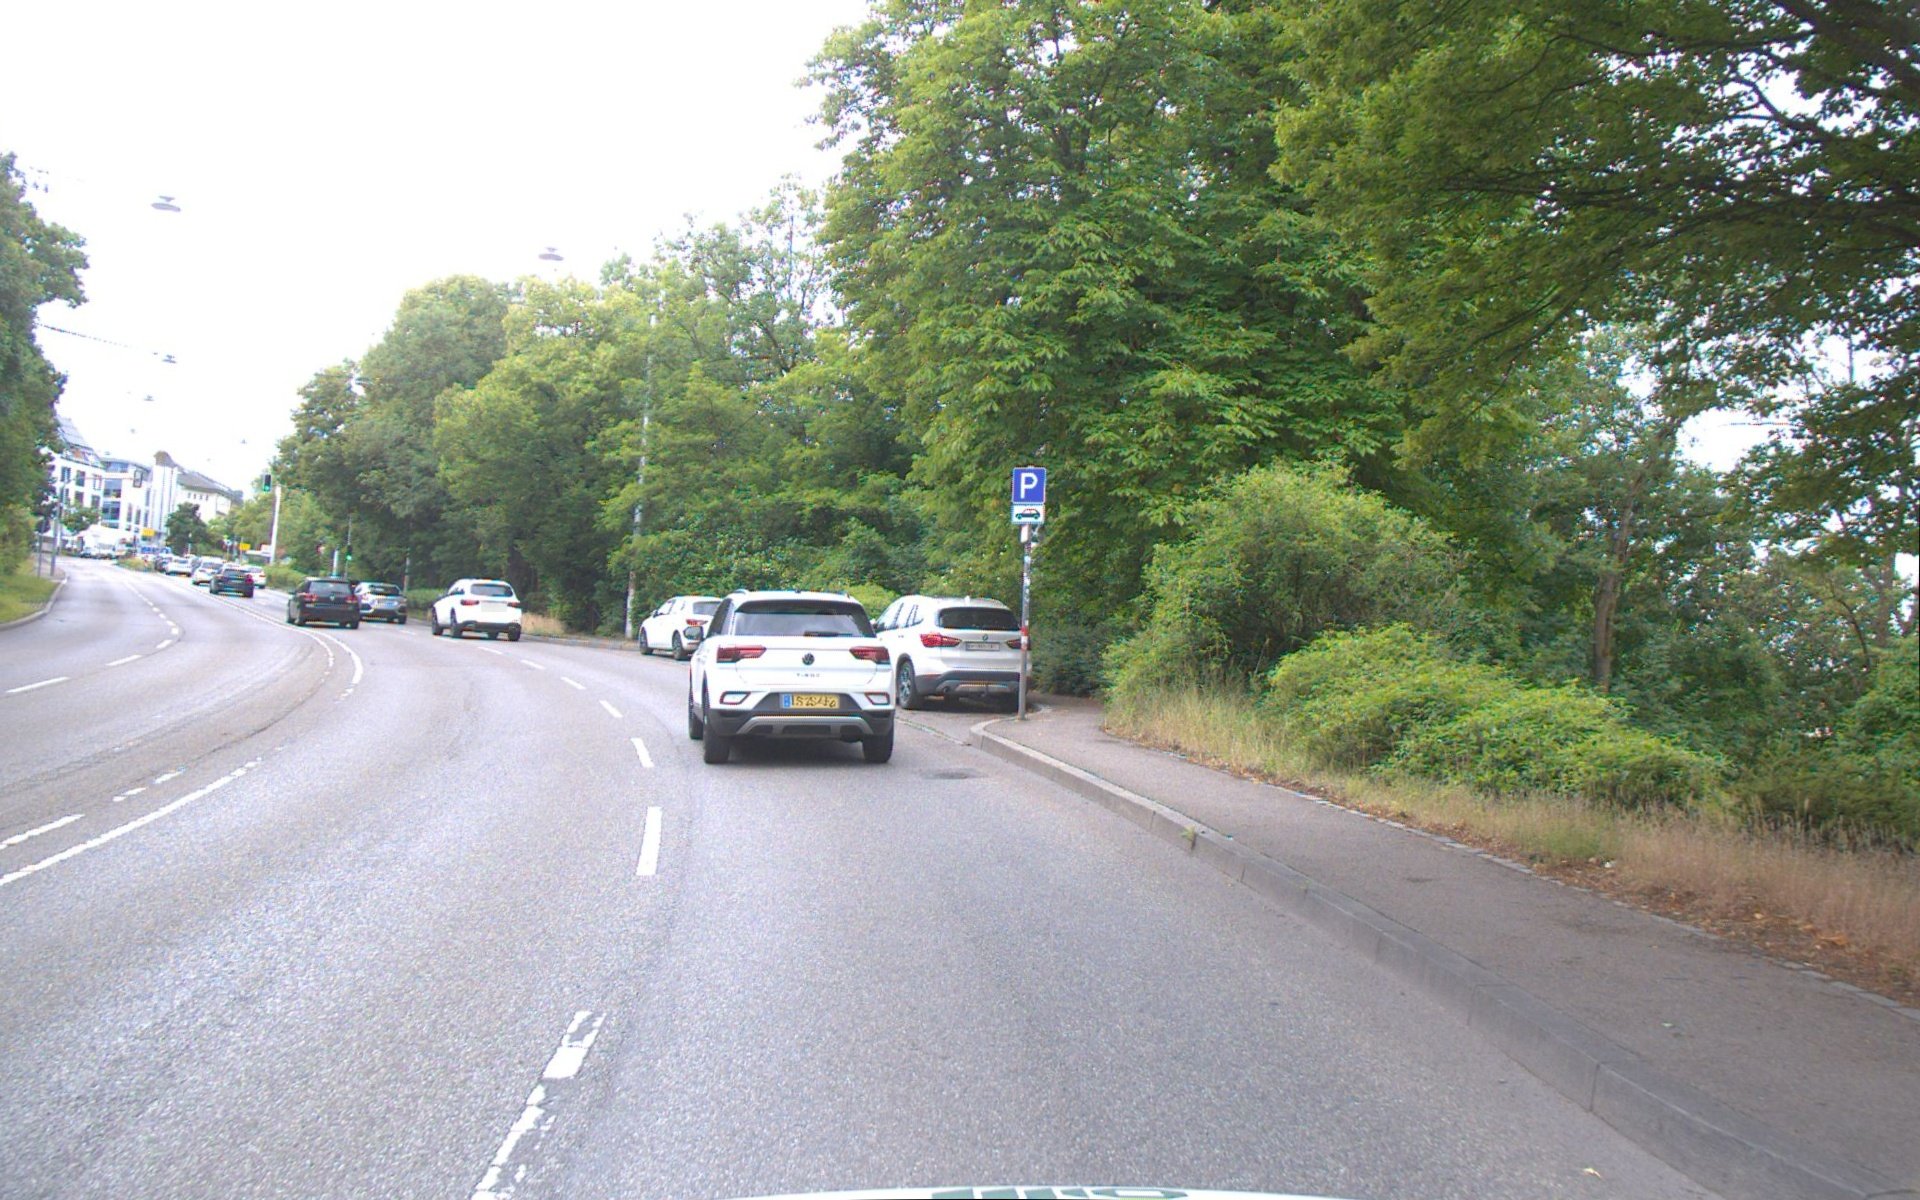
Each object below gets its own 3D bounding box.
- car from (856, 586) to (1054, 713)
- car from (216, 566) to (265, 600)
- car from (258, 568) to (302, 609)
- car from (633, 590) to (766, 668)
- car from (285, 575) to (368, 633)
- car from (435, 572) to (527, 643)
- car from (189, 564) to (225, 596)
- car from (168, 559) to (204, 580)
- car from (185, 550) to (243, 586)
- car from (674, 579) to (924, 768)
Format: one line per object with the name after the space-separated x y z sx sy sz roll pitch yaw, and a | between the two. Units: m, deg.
-0.183 0.669 24.435 1.730 1.681 4.360 2 0 -17 | car
-36.768 -0.872 84.587 1.965 1.512 3.977 4 0 -20 | car
-31.717 -0.570 77.187 1.742 1.634 3.974 4 1 -22 | car
-6.203 0.643 38.961 1.712 1.508 4.662 4 0 -26 | car
-19.233 0.105 50.141 1.926 1.491 3.967 4 0 -26 | car
-13.559 0.172 46.718 1.829 1.732 3.968 0 3 -26 | car
-42.717 -1.177 93.874 1.688 1.617 3.970 4 0 -24 | car
-64.379 -2.535 137.616 1.961 1.554 3.983 4 0 -16 | car
-46.819 -1.968 103.887 1.955 2.048 3.996 4 0 -4 | car
-1.727 0.633 16.379 1.966 1.624 3.987 1 0 -13 | car
